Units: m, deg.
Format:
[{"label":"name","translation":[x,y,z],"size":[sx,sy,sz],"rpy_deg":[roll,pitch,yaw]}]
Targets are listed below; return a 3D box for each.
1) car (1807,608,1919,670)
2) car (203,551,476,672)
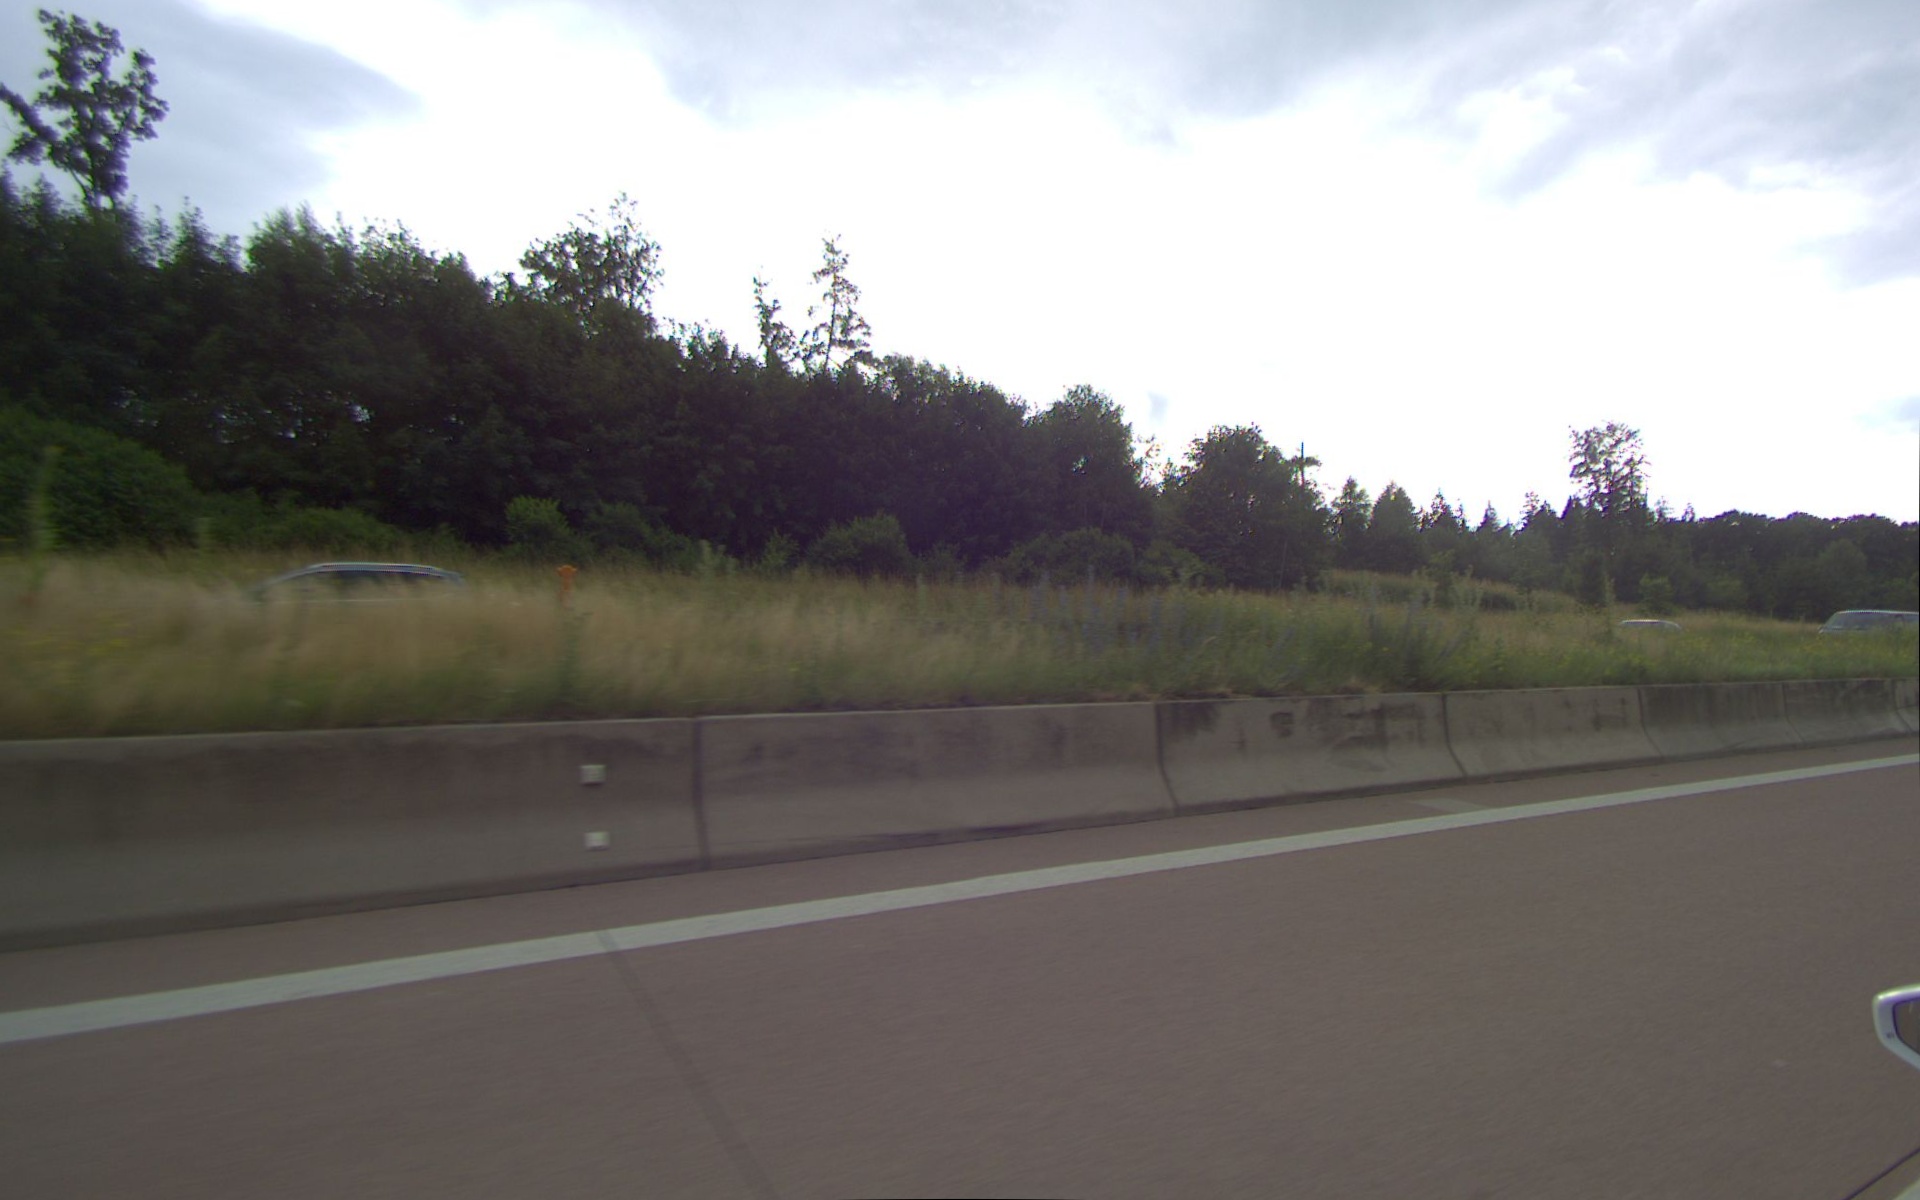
[{"label":"car","translation":[30.065,1.309,32.914],"size":[5.164,1.841,1.866],"rpy_deg":[3,-1,-30]},{"label":"car","translation":[-10.520,0.236,17.275],"size":[3.765,1.844,1.658],"rpy_deg":[3,-1,-32]}]
